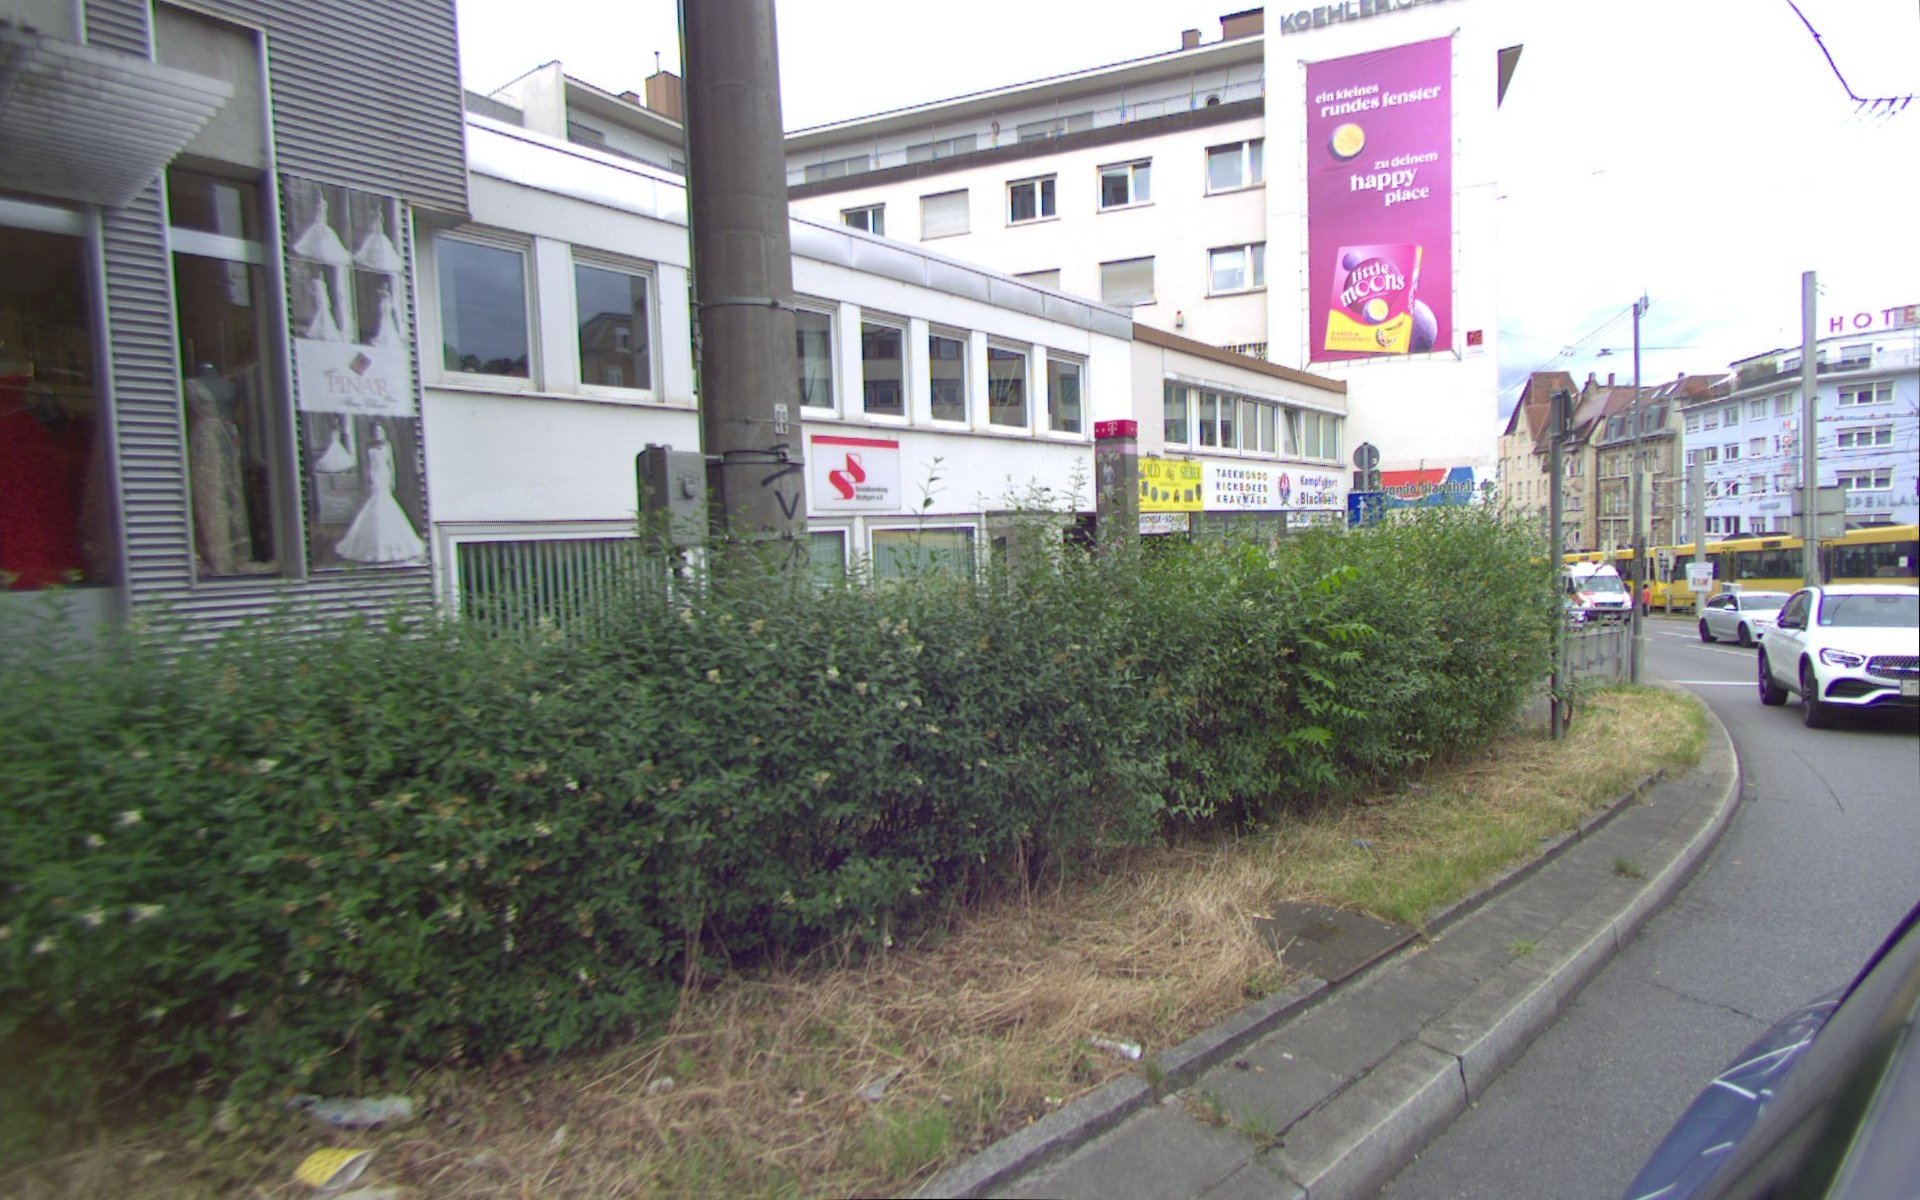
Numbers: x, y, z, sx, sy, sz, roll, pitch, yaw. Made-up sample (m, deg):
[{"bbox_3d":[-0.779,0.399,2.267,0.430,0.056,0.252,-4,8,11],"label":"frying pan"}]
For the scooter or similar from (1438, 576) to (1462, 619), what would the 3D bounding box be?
[{"bbox_3d":[17.406,-0.083,35.968,0.662,1.494,1.170,-1,0,21],"label":"scooter or similar"}]

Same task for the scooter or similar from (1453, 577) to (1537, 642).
[{"bbox_3d":[10.603,0.187,20.060,1.416,1.270,0.558,0,0,-9],"label":"scooter or similar"}]

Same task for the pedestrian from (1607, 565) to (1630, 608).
[{"bbox_3d":[32.898,-0.673,50.572,0.962,2.091,1.021,0,4,33],"label":"pedestrian"}]

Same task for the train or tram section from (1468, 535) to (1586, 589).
[{"bbox_3d":[42.383,-2.733,76.402,2.844,3.484,14.193,-4,0,9],"label":"train or tram section"}]

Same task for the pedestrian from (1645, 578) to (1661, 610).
[{"bbox_3d":[33.258,-0.307,48.587,0.574,1.481,0.668,1,5,33],"label":"pedestrian"}]

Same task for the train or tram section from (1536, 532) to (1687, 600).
[{"bbox_3d":[39.706,-2.120,62.533,2.887,3.602,14.182,-3,1,12],"label":"train or tram section"}]

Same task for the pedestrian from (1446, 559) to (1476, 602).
[{"bbox_3d":[25.532,-0.995,51.603,0.938,2.086,0.774,9,4,18],"label":"pedestrian"}]

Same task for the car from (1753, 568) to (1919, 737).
[{"bbox_3d":[11.171,0.485,12.171,1.920,1.652,4.722,-2,1,31],"label":"car"}]

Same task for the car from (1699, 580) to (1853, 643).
[{"bbox_3d":[21.979,0.255,27.504,1.875,1.493,4.501,-2,1,21],"label":"car"}]

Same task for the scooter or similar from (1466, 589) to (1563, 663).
[{"bbox_3d":[10.165,0.465,18.558,1.416,1.196,0.584,-5,1,-9],"label":"scooter or similar"}]

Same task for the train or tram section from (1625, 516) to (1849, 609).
[{"bbox_3d":[36.585,-1.704,48.719,2.847,3.709,14.175,-2,1,13],"label":"train or tram section"}]

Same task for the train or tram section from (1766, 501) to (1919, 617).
[{"bbox_3d":[33.071,-1.418,34.981,2.850,3.709,14.160,-1,1,16],"label":"train or tram section"}]

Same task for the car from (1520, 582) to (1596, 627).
[{"bbox_3d":[23.235,0.134,39.452,1.649,1.549,3.976,-4,0,19],"label":"car"}]

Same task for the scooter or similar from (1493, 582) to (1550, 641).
[{"bbox_3d":[11.714,0.239,21.111,0.990,1.197,0.377,-1,0,-9],"label":"scooter or similar"}]

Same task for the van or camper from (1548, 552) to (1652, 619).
[{"bbox_3d":[27.530,-0.647,43.793,2.181,2.590,6.338,-3,1,18],"label":"van or camper"}]
